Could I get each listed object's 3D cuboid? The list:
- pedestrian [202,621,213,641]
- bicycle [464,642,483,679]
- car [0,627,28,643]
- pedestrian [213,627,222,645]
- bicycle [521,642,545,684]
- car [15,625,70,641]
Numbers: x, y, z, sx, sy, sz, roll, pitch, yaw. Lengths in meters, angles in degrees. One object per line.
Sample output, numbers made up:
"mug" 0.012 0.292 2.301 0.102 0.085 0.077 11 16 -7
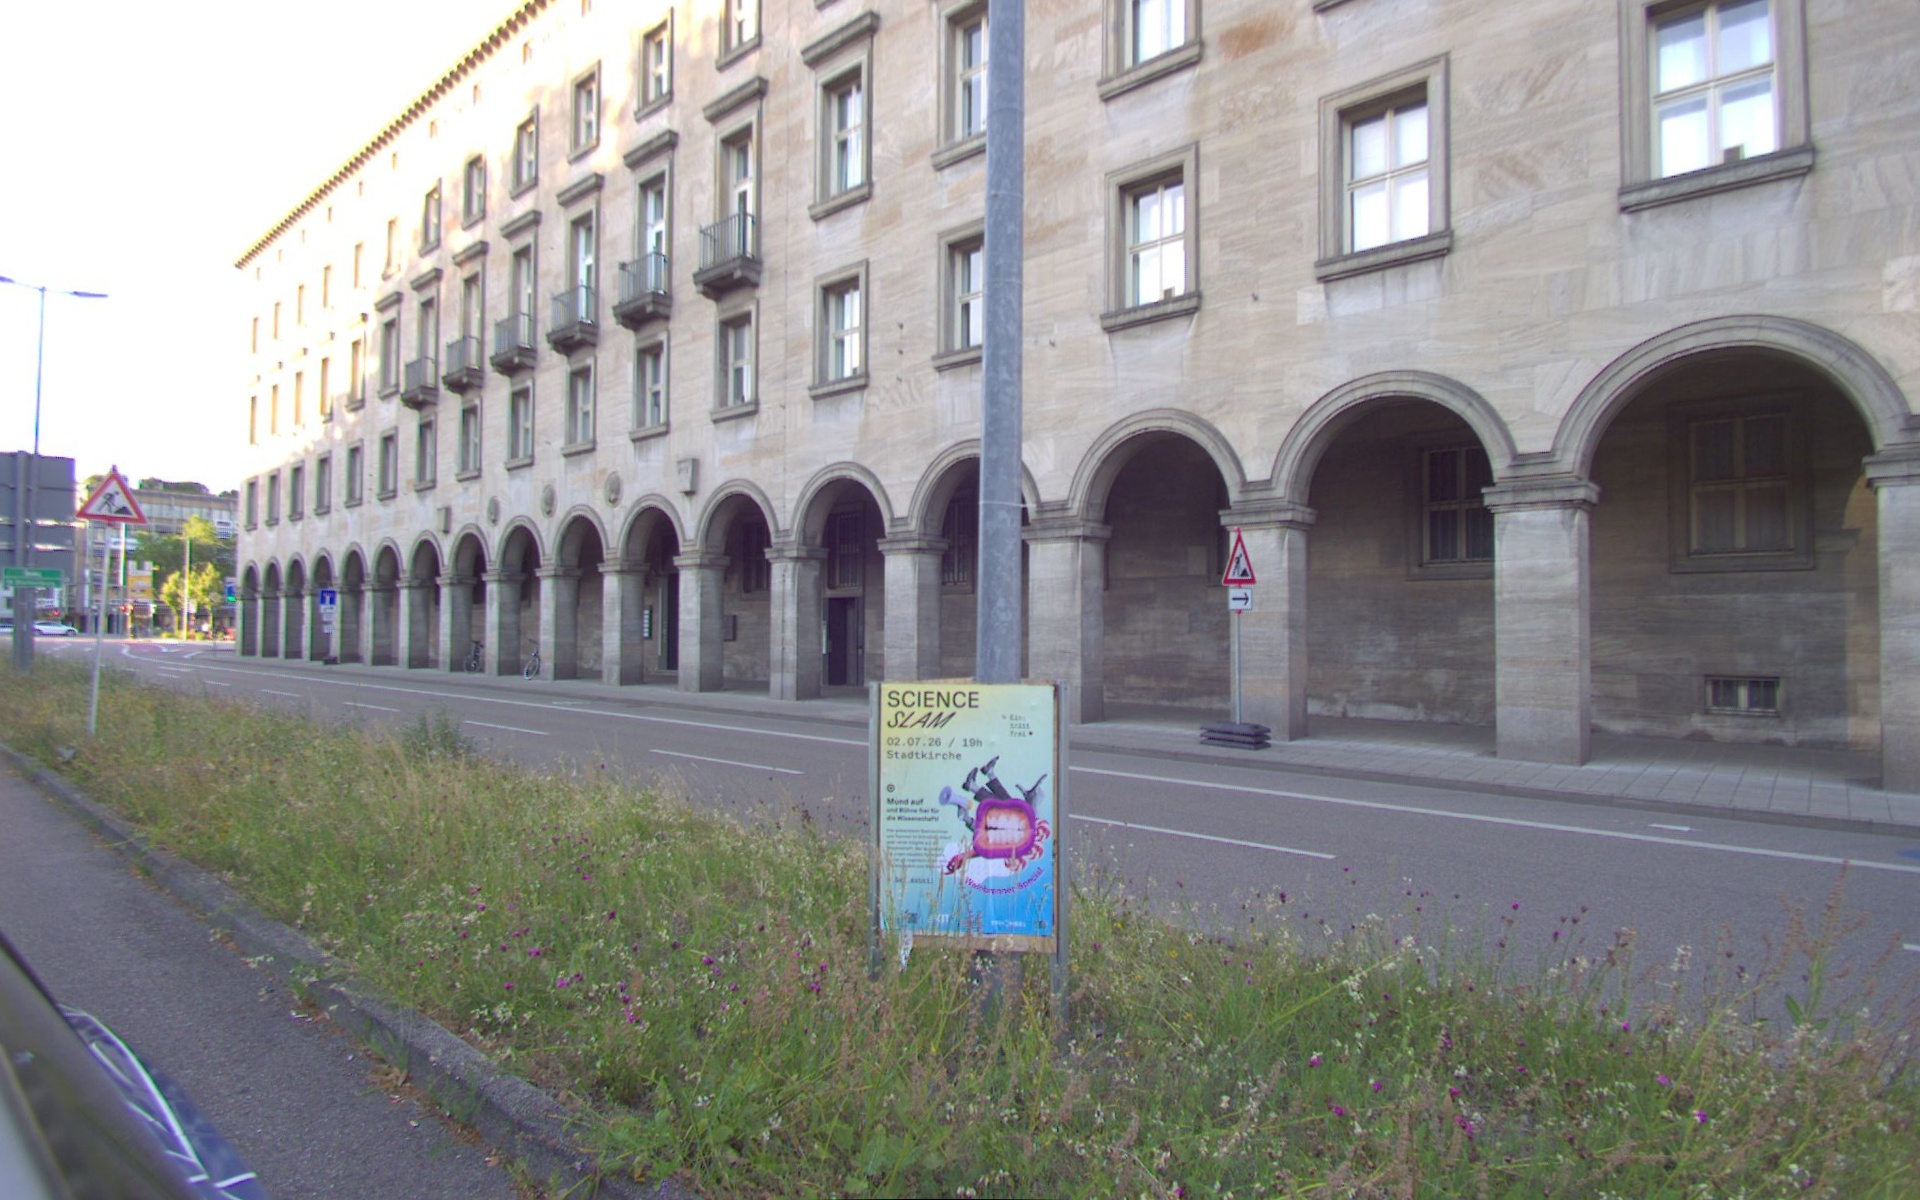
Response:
"pedestrian" -66.172 2.712 88.940 0.506 1.771 0.630 -2 -3 41
"bicycle" -16.021 1.972 33.368 0.505 1.188 2.431 1 -2 -25
"car" -119.141 4.335 126.165 1.995 2.029 3.952 -1 -3 35
"pedestrian" -65.542 3.149 89.313 0.389 1.553 0.519 -2 -3 41
"bicycle" -12.701 1.850 30.117 0.505 1.130 2.431 1 -1 -20
"car" -97.241 3.515 107.291 1.994 1.621 3.984 -1 -3 33
